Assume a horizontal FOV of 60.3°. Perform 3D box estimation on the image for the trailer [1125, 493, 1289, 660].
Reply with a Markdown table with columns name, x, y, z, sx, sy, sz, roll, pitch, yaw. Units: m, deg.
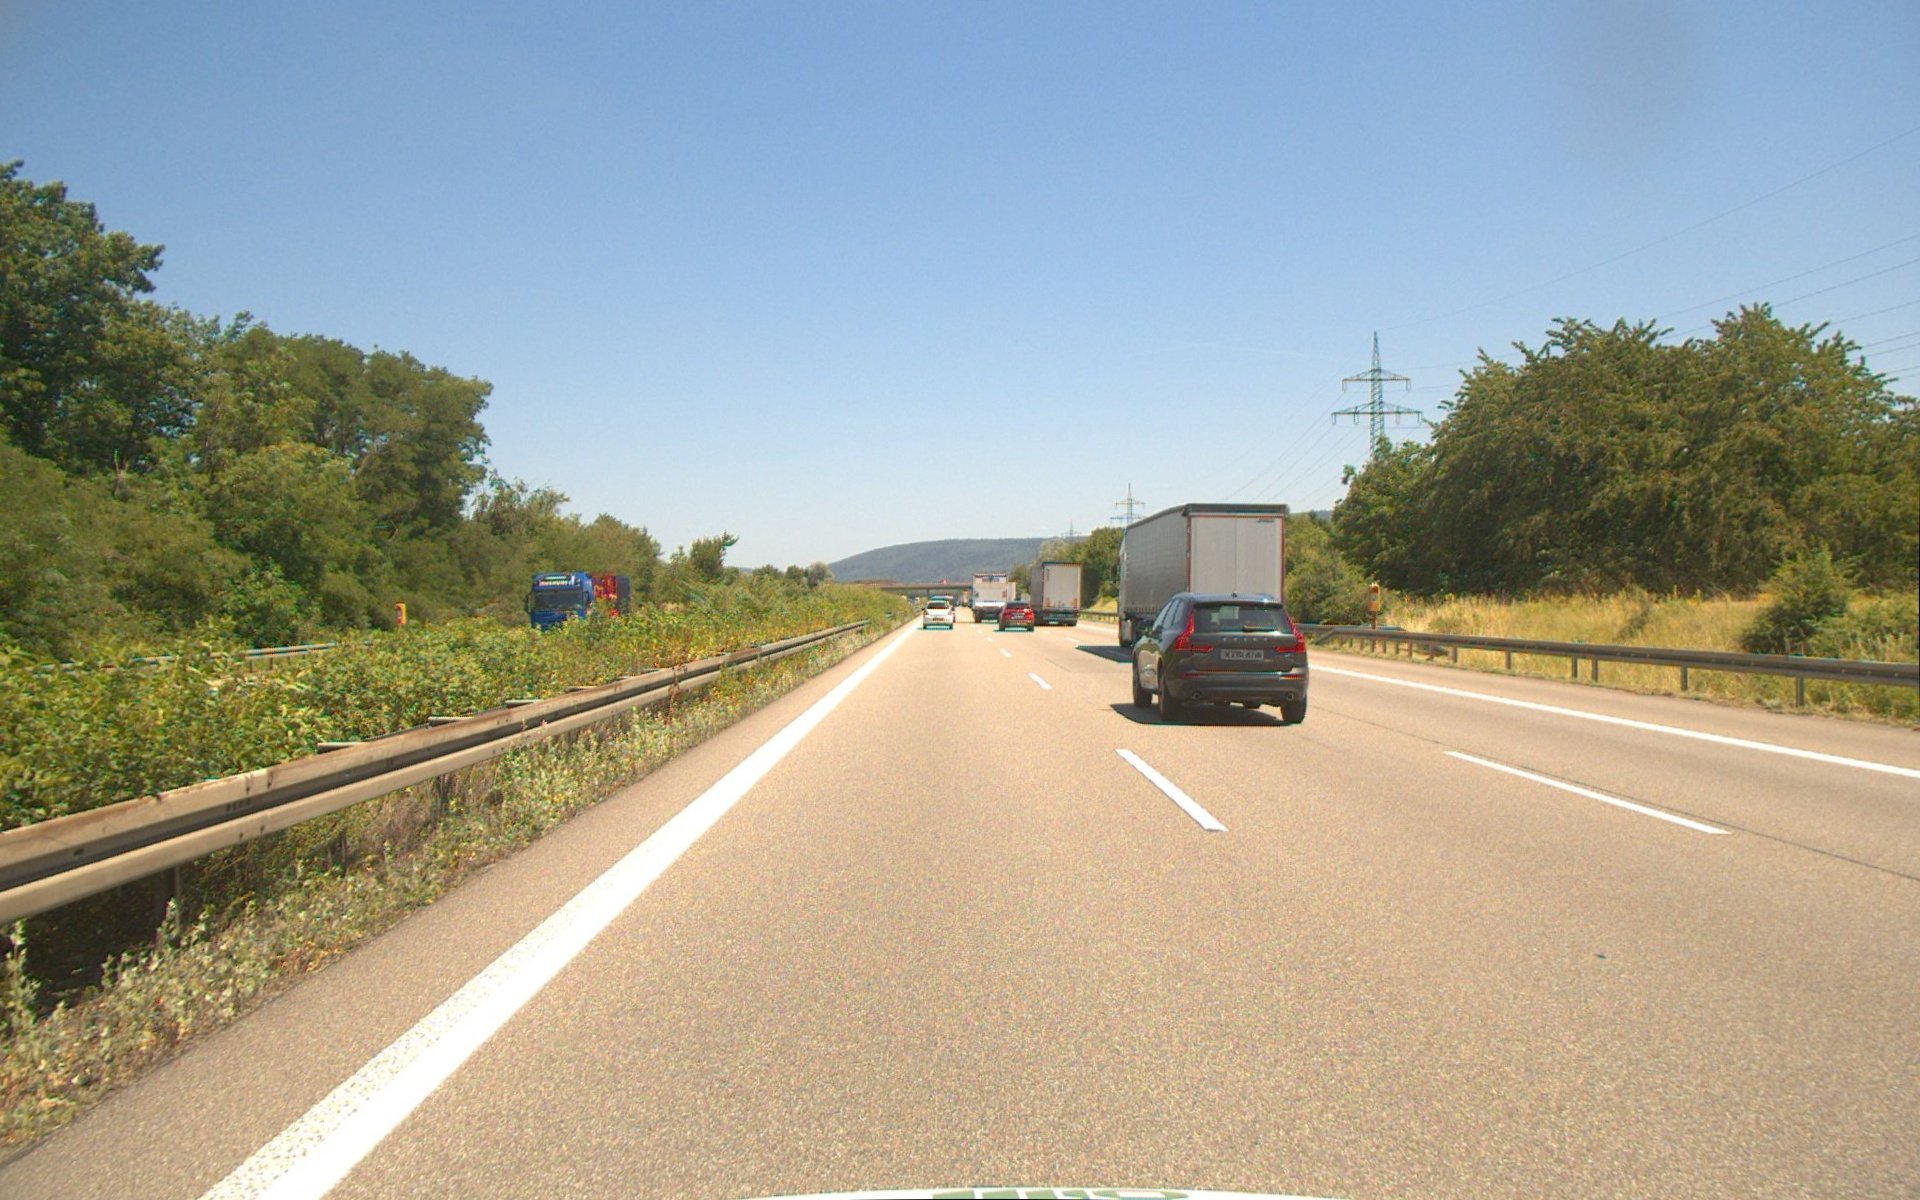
| name | x | y | z | sx | sy | sz | roll | pitch | yaw |
| --- | --- | --- | --- | --- | --- | --- | --- | --- | --- |
| trailer | 6.885 | -0.580 | 48.281 | 2.680 | 4.178 | 13.120 | 0 | 0 | -1 |

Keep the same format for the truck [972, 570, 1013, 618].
| name | x | y | z | sx | sy | sz | roll | pitch | yaw |
| --- | --- | --- | --- | --- | --- | --- | --- | --- | --- |
| truck | 2.327 | -0.426 | 122.119 | 2.726 | 3.432 | 8.126 | 0 | 0 | -1 |

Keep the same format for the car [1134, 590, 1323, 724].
| name | x | y | z | sx | sy | sz | roll | pitch | yaw |
| --- | --- | --- | --- | --- | --- | --- | --- | --- | --- |
| car | 3.511 | 0.701 | 22.336 | 1.835 | 1.652 | 4.003 | 0 | 0 | -1 |

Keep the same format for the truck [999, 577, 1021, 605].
| name | x | y | z | sx | sy | sz | roll | pitch | yaw |
| --- | --- | --- | --- | --- | --- | --- | --- | --- | --- |
| truck | 5.943 | -1.042 | 199.206 | 2.176 | 3.265 | 10.383 | -1 | 0 | -1 |

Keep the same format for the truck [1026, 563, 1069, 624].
| name | x | y | z | sx | sy | sz | roll | pitch | yaw |
| --- | --- | --- | --- | --- | --- | --- | --- | --- | --- |
| truck | 6.236 | -0.465 | 118.535 | 2.738 | 4.237 | 5.722 | -1 | 0 | 0 |

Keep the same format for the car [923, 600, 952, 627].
| name | x | y | z | sx | sy | sz | roll | pitch | yaw |
| --- | --- | --- | --- | --- | --- | --- | --- | --- | --- |
| car | -1.262 | 0.729 | 91.594 | 1.575 | 1.493 | 3.999 | 0 | 0 | -1 |

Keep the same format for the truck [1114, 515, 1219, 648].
| name | x | y | z | sx | sy | sz | roll | pitch | yaw |
| --- | --- | --- | --- | --- | --- | --- | --- | --- | --- |
| truck | 6.815 | -0.567 | 55.446 | 2.680 | 4.192 | 6.123 | 0 | 0 | -1 |

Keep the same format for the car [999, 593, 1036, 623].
| name | x | y | z | sx | sy | sz | roll | pitch | yaw |
| --- | --- | --- | --- | --- | --- | --- | --- | --- | --- |
| car | 3.033 | 0.416 | 87.286 | 1.766 | 1.572 | 3.999 | 0 | 0 | -1 |

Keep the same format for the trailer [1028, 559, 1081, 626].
| name | x | y | z | sx | sy | sz | roll | pitch | yaw |
| --- | --- | --- | --- | --- | --- | --- | --- | --- | --- |
| trailer | 6.259 | -0.476 | 111.831 | 2.732 | 4.237 | 13.573 | -1 | 0 | 0 |
